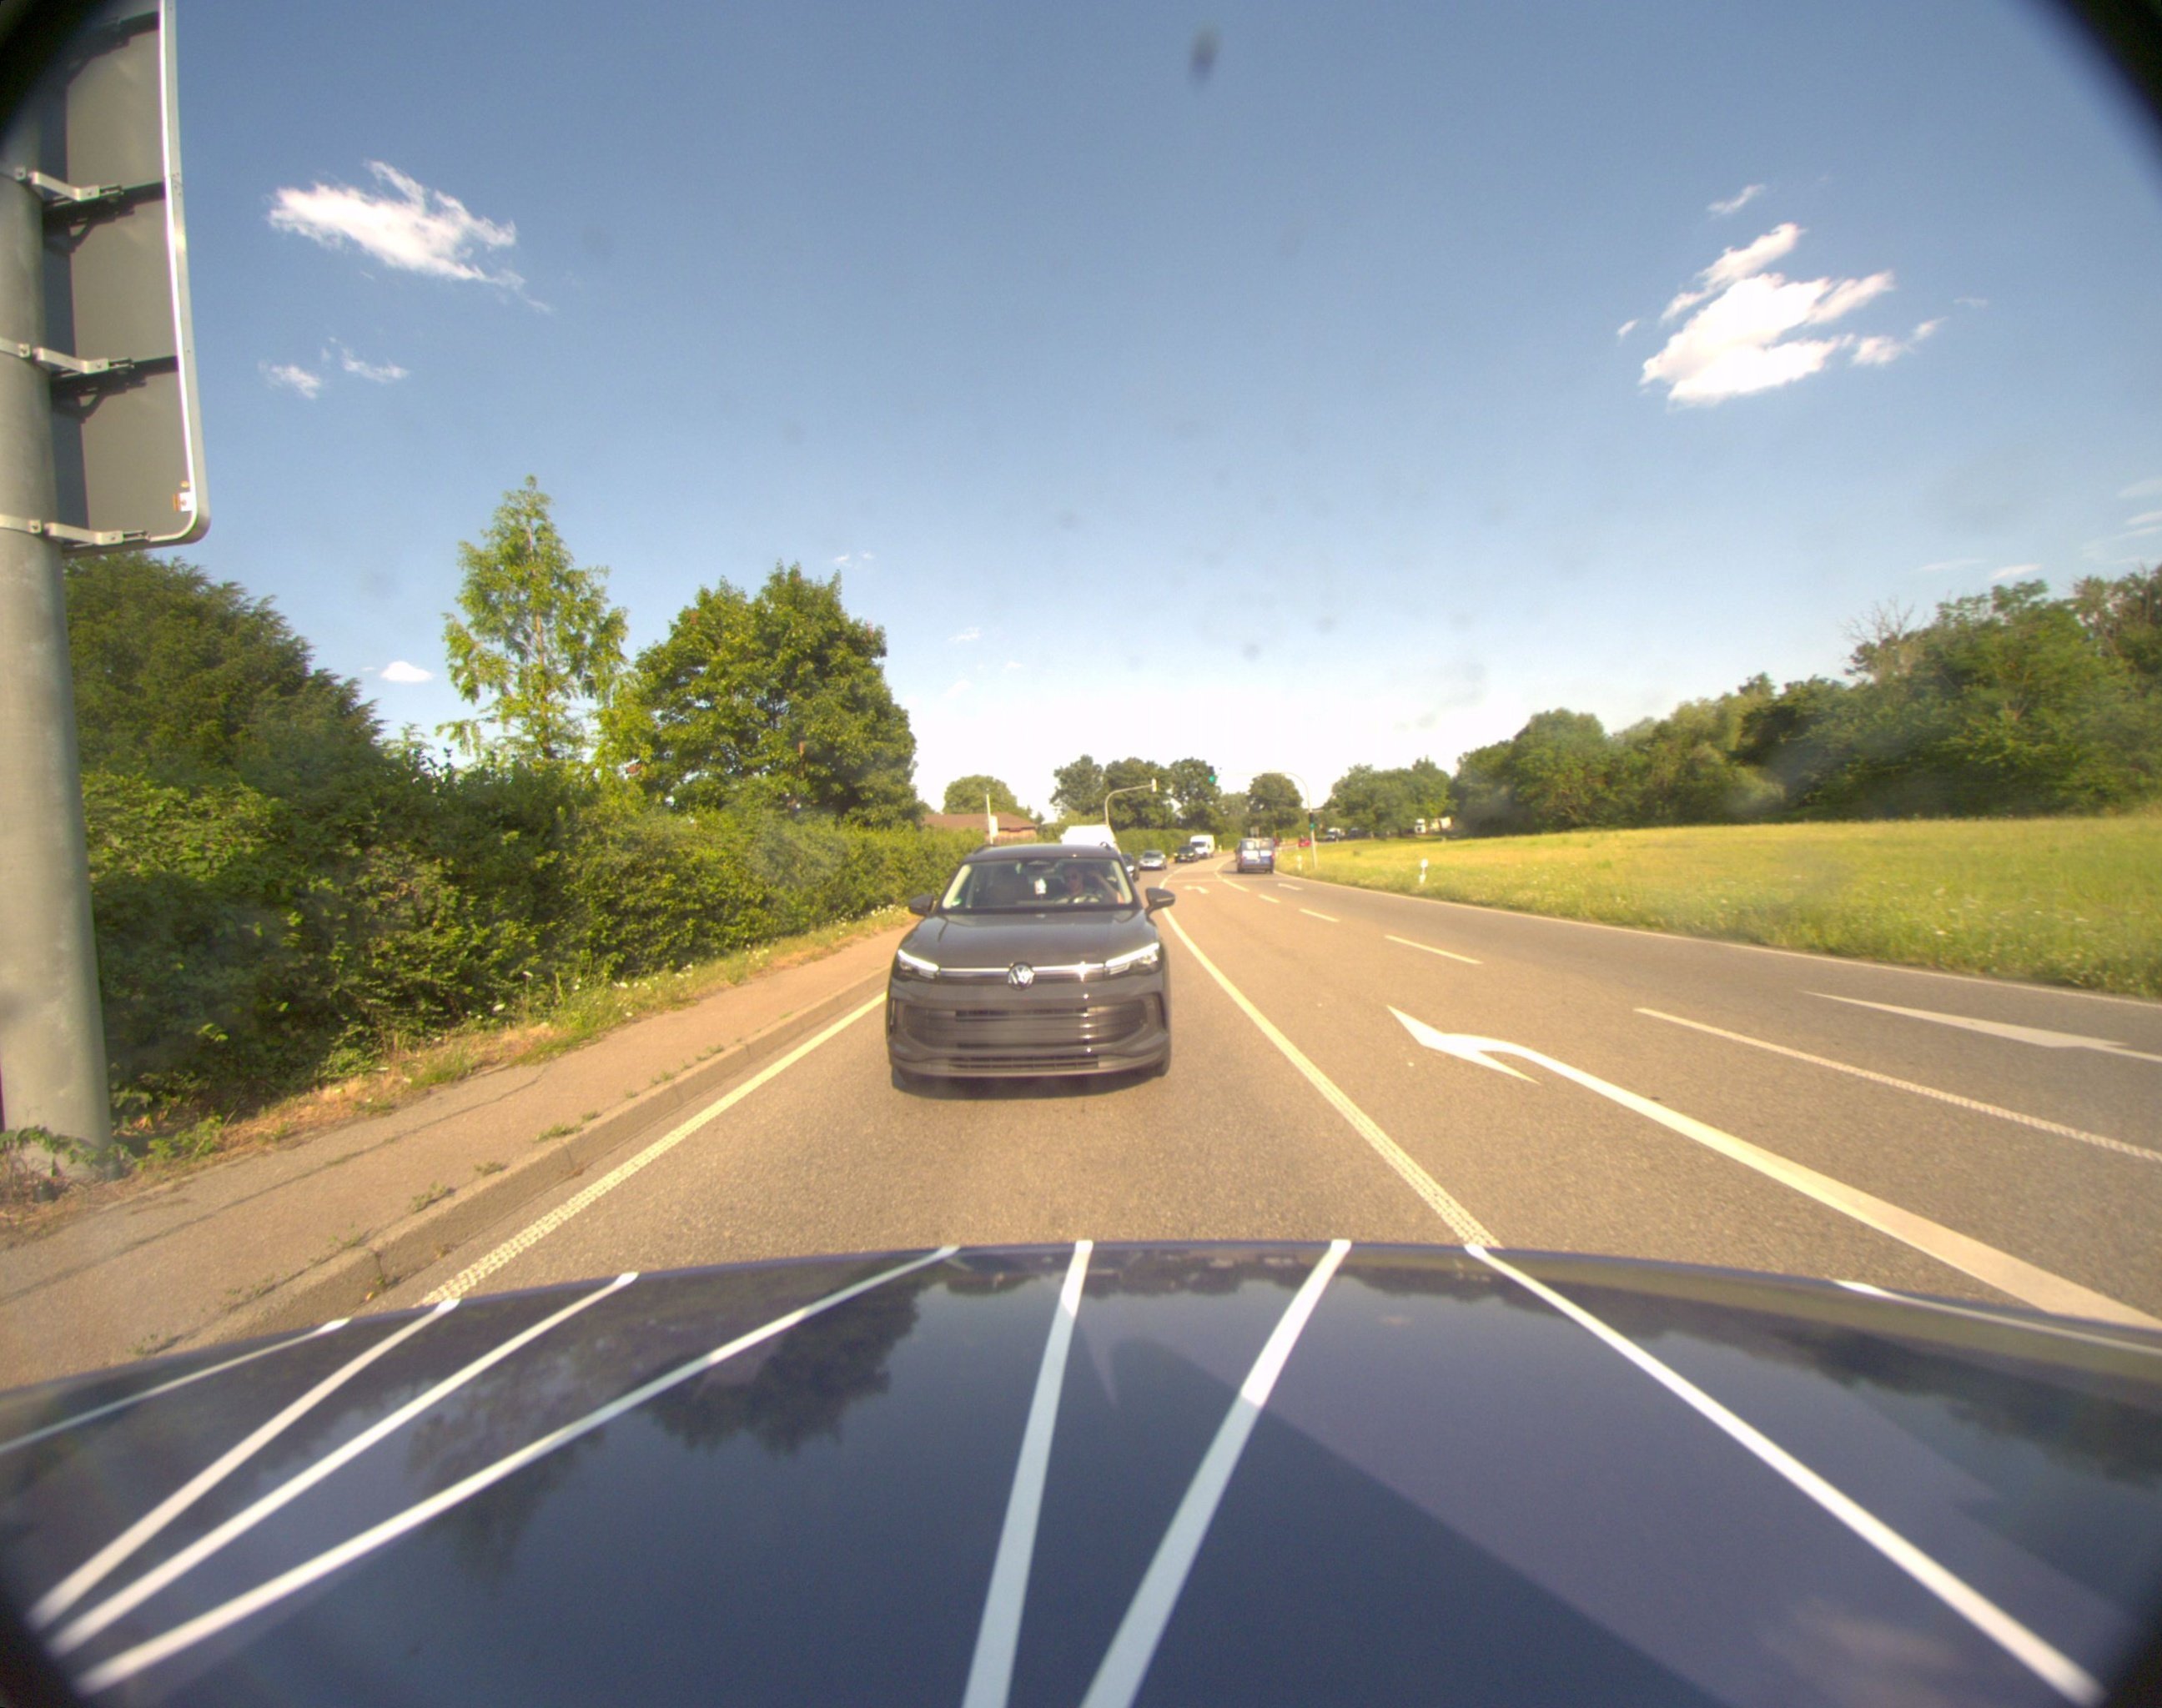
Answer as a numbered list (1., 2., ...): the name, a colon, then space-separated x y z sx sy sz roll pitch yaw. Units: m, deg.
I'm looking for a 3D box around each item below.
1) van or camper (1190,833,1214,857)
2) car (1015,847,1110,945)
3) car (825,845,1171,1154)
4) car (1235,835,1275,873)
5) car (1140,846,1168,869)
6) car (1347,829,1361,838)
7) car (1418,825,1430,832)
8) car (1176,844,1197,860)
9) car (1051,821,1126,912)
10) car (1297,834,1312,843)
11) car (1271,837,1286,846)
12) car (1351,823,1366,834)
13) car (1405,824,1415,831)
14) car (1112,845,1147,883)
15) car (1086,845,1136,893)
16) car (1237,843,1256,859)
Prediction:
1. van or camper: 13.447 -1.033 84.236 2.032 2.461 5.082 -4 0 15
2. car: -0.269 0.733 15.446 1.659 1.720 3.804 -1 1 2
3. car: -0.378 0.786 6.177 1.865 1.633 4.000 -1 2 2
4. car: 10.678 -0.035 46.817 2.002 2.124 4.782 -2 0 9
5. car: 5.316 0.213 55.333 1.633 1.549 3.419 -1 1 12
6. car: 58.967 -4.387 164.020 1.725 1.871 4.344 -1 0 35
7. car: 93.527 -7.034 207.335 3.876 1.595 1.654 -5 1 -44
8. car: 10.089 -0.185 72.417 1.605 1.471 3.620 0 1 15
9. car: 0.340 0.307 22.097 1.844 2.338 4.790 -1 0 4
10. car: 38.679 -2.706 131.408 1.586 1.458 3.614 -1 0 30
11. car: 34.644 -2.244 133.504 1.671 1.471 3.500 -4 1 29
12. car: 65.414 -5.945 179.215 1.995 2.373 4.944 -4 1 35
13. car: 82.907 -6.637 191.588 1.635 1.685 3.625 0 2 36
14. car: 2.503 0.467 38.755 1.673 1.718 3.668 0 2 6
15. car: 1.232 0.534 29.562 1.693 1.718 3.669 -1 1 6
16. car: 15.794 -0.313 72.445 1.709 1.420 4.181 -2 0 12
